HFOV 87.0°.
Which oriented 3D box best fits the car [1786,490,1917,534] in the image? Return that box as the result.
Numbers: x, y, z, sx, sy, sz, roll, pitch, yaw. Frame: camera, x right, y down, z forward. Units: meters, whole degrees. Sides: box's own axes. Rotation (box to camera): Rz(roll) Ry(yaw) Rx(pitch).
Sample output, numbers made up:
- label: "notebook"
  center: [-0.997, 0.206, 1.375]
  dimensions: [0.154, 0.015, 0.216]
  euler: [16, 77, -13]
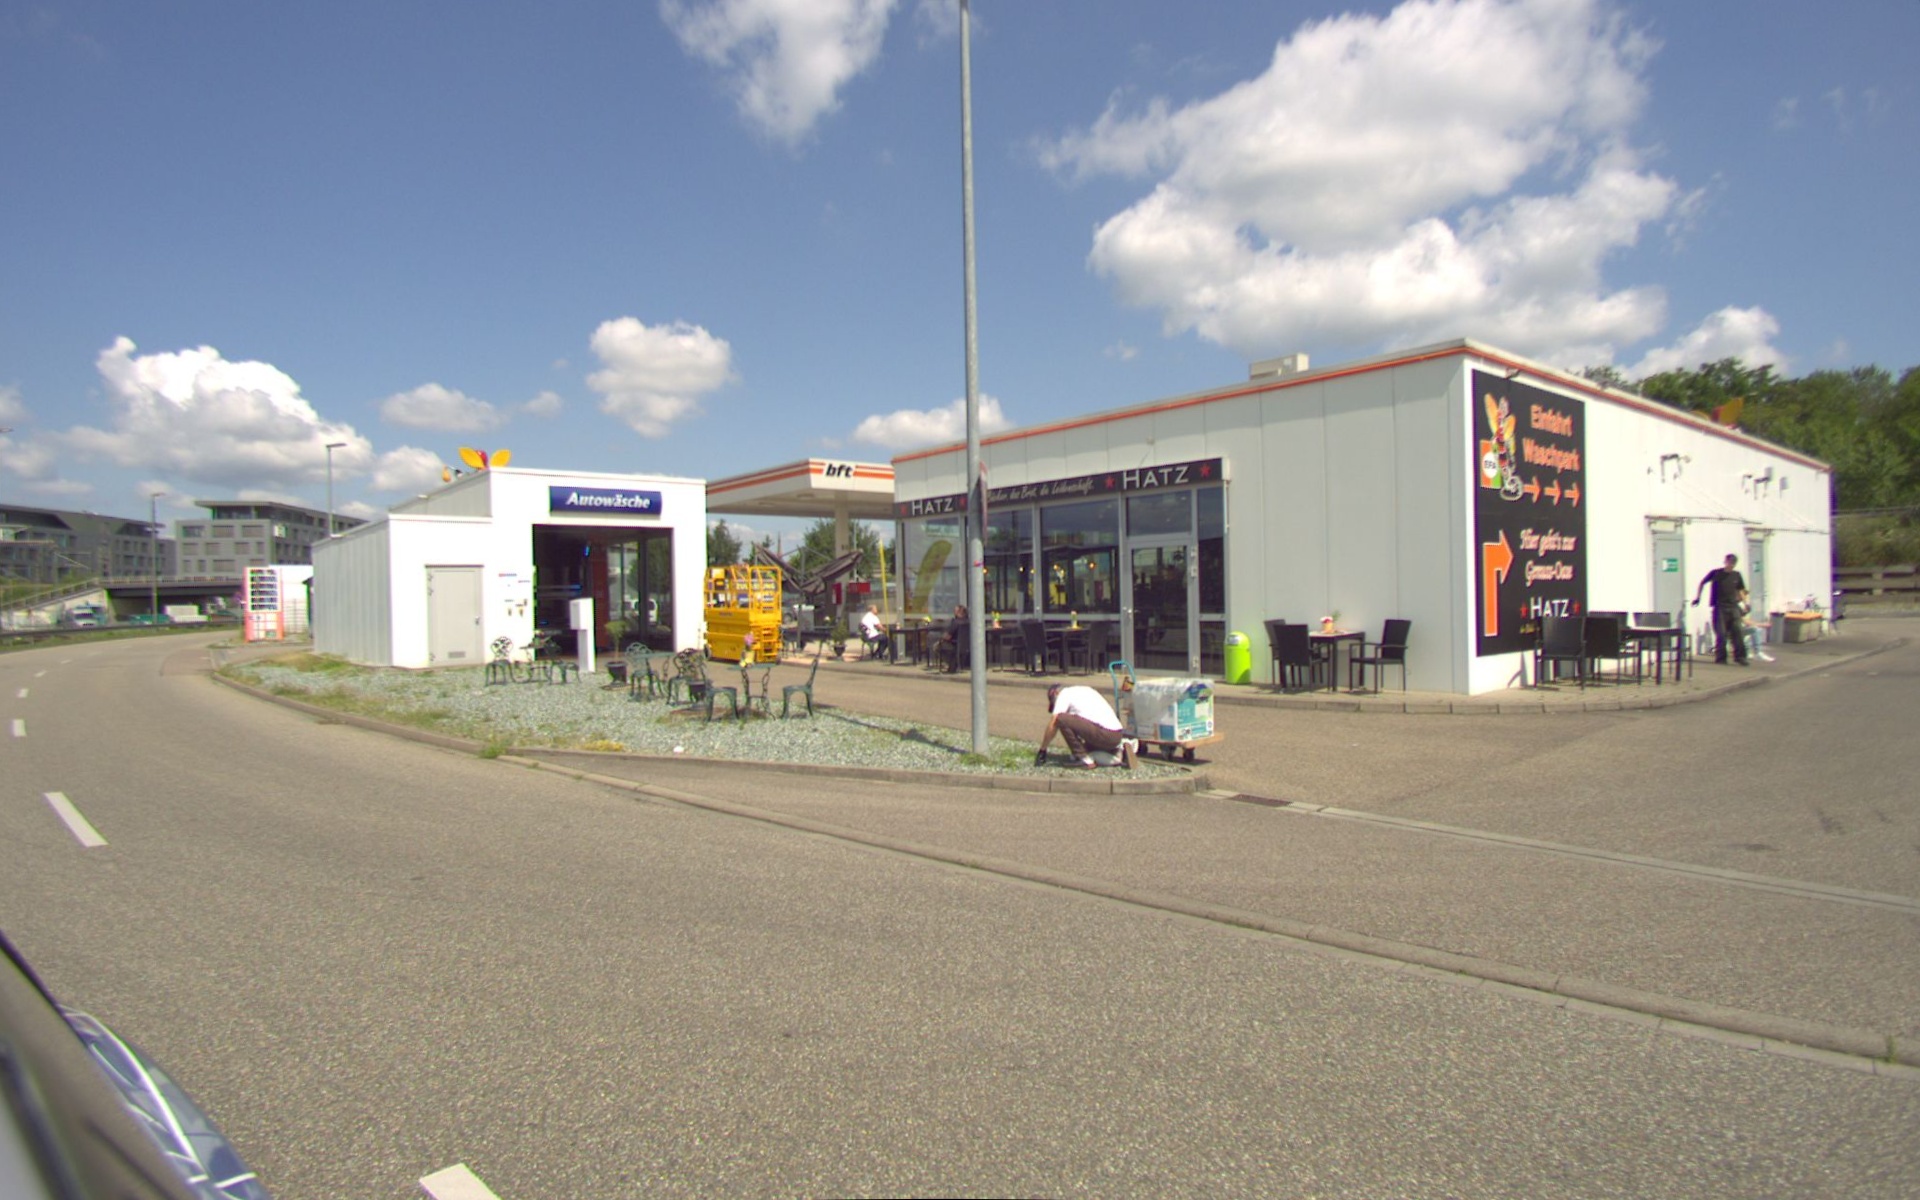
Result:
- label: "car"
  center: [41.888, -4.113, 47.714]
  dimensions: [4.363, 1.663, 1.977]
  euler: [-1, 0, 34]

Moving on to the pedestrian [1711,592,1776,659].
- label: "pedestrian"
  center: [14.216, 0.446, 18.378]
  dimensions: [0.840, 1.175, 0.704]
  euler: [1, 1, 32]

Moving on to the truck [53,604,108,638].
- label: "truck"
  center: [-100.801, 2.332, 115.962]
  dimensions: [6.861, 3.672, 2.629]
  euler: [-1, 2, 30]

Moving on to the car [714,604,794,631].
- label: "car"
  center: [-12.187, 1.011, 60.146]
  dimensions: [1.921, 1.500, 4.473]
  euler: [-1, 0, 38]

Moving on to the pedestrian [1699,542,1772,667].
- label: "pedestrian"
  center: [13.115, 0.060, 17.152]
  dimensions: [0.862, 2.029, 0.931]
  euler: [1, 1, 32]

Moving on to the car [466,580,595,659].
- label: "car"
  center: [-12.653, 0.543, 29.625]
  dimensions: [1.969, 2.125, 5.017]
  euler: [0, 0, -42]

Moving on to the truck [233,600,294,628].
- label: "truck"
  center: [-79.368, 1.613, 115.408]
  dimensions: [5.424, 3.121, 2.004]
  euler: [0, 0, -10]

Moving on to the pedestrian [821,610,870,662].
- label: "pedestrian"
  center: [-2.589, 0.808, 22.911]
  dimensions: [0.809, 1.119, 0.756]
  euler: [-1, 0, -41]

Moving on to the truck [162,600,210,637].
- label: "truck"
  center: [-76.617, 1.792, 100.095]
  dimensions: [2.950, 3.445, 8.121]
  euler: [0, 0, -44]

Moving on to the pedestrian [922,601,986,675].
- label: "pedestrian"
  center: [-0.113, 0.675, 18.317]
  dimensions: [0.743, 1.266, 0.900]
  euler: [-2, 0, -39]

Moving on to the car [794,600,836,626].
- label: "car"
  center: [-9.696, 0.863, 67.734]
  dimensions: [1.252, 1.637, 3.128]
  euler: [0, 0, -42]

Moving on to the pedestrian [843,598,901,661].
- label: "pedestrian"
  center: [-1.916, 0.641, 22.211]
  dimensions: [0.862, 1.317, 0.931]
  euler: [-1, 0, 32]

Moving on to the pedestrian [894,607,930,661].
- label: "pedestrian"
  center: [-1.106, 0.758, 22.994]
  dimensions: [0.607, 1.182, 0.758]
  euler: [-1, 0, -19]

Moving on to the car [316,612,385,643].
- label: "car"
  center: [-30.679, 1.354, 50.845]
  dimensions: [1.895, 1.388, 4.794]
  euler: [-2, 1, -44]

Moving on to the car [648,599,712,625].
- label: "car"
  center: [-17.263, 0.736, 62.362]
  dimensions: [1.969, 1.564, 4.603]
  euler: [0, 0, -42]

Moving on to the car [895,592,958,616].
- label: "car"
  center: [-2.358, 0.294, 70.342]
  dimensions: [4.315, 1.615, 1.971]
  euler: [-1, 0, 45]

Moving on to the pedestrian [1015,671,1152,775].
- label: "pedestrian"
  center: [1.084, 1.050, 8.899]
  dimensions: [0.852, 0.766, 0.819]
  euler: [-1, 0, -42]

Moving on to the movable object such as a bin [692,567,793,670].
- label: "movable object such as a bin"
  center: [-4.913, 0.357, 22.730]
  dimensions: [1.049, 2.168, 2.708]
  euler: [-1, 1, -41]

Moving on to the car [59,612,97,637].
- label: "car"
  center: [-93.497, 2.547, 107.259]
  dimensions: [5.877, 2.545, 2.039]
  euler: [-1, 1, 40]

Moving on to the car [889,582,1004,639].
- label: "car"
  center: [-0.582, 0.402, 38.490]
  dimensions: [1.968, 2.029, 4.678]
  euler: [0, 0, -38]
